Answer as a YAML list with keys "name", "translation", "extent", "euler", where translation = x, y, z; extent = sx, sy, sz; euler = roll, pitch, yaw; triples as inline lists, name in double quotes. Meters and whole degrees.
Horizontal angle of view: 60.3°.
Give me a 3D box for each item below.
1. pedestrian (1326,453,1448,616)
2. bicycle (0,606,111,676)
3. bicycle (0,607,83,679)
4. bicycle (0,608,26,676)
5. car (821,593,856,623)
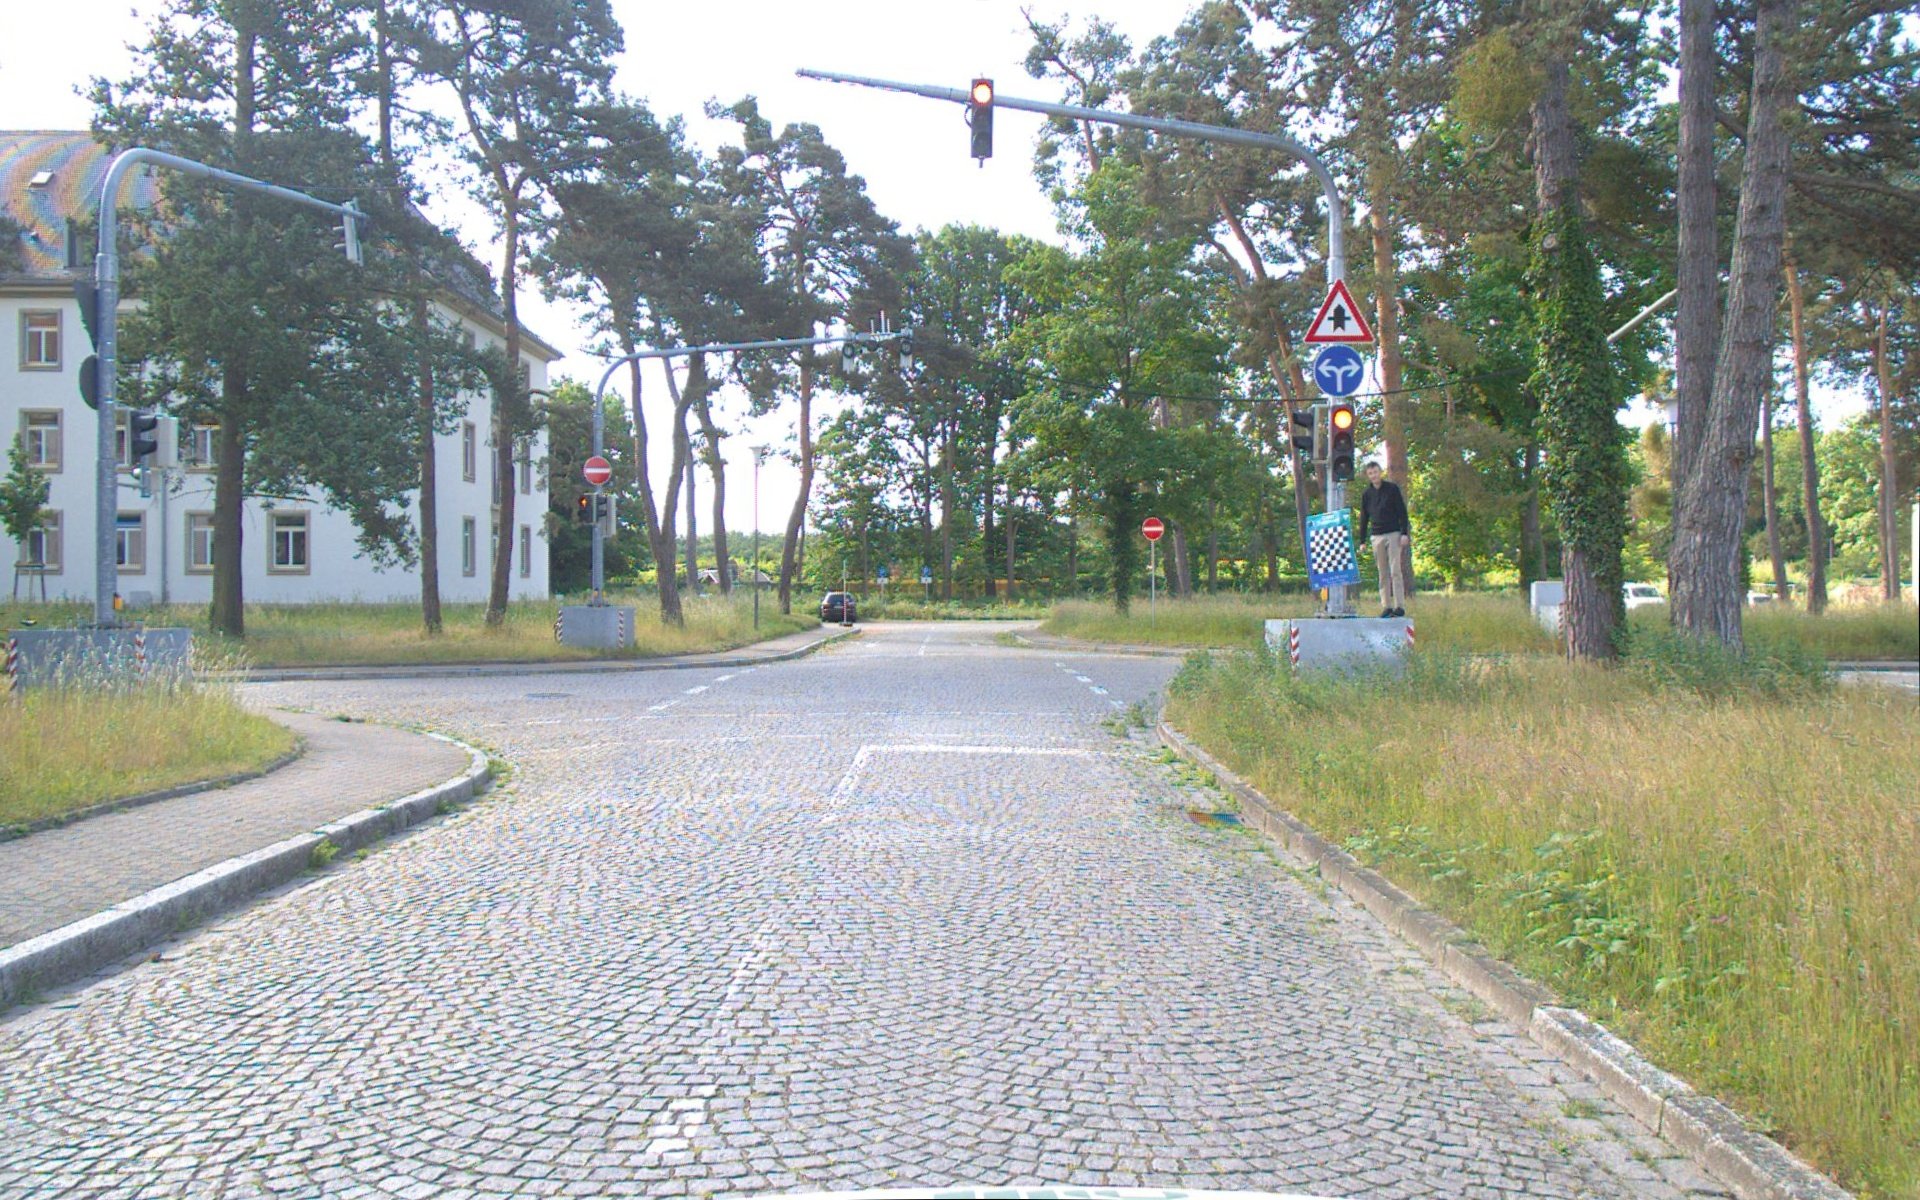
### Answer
- name: "pedestrian"
  translation: [5.011, -0.740, 19.371]
  extent: [1.146, 1.827, 1.061]
  euler: [-1, 0, 29]
- name: "bicycle"
  translation: [-16.595, 0.738, 30.141]
  extent: [1.905, 1.242, 0.635]
  euler: [0, 0, -1]
- name: "bicycle"
  translation: [-16.686, 0.762, 29.425]
  extent: [1.824, 1.242, 0.635]
  euler: [0, 0, -1]
- name: "bicycle"
  translation: [-17.934, 0.782, 30.158]
  extent: [0.620, 1.242, 2.114]
  euler: [0, 0, -1]
- name: "car"
  translation: [-6.366, 0.393, 86.919]
  extent: [1.675, 1.522, 3.917]
  euler: [0, 0, -3]
